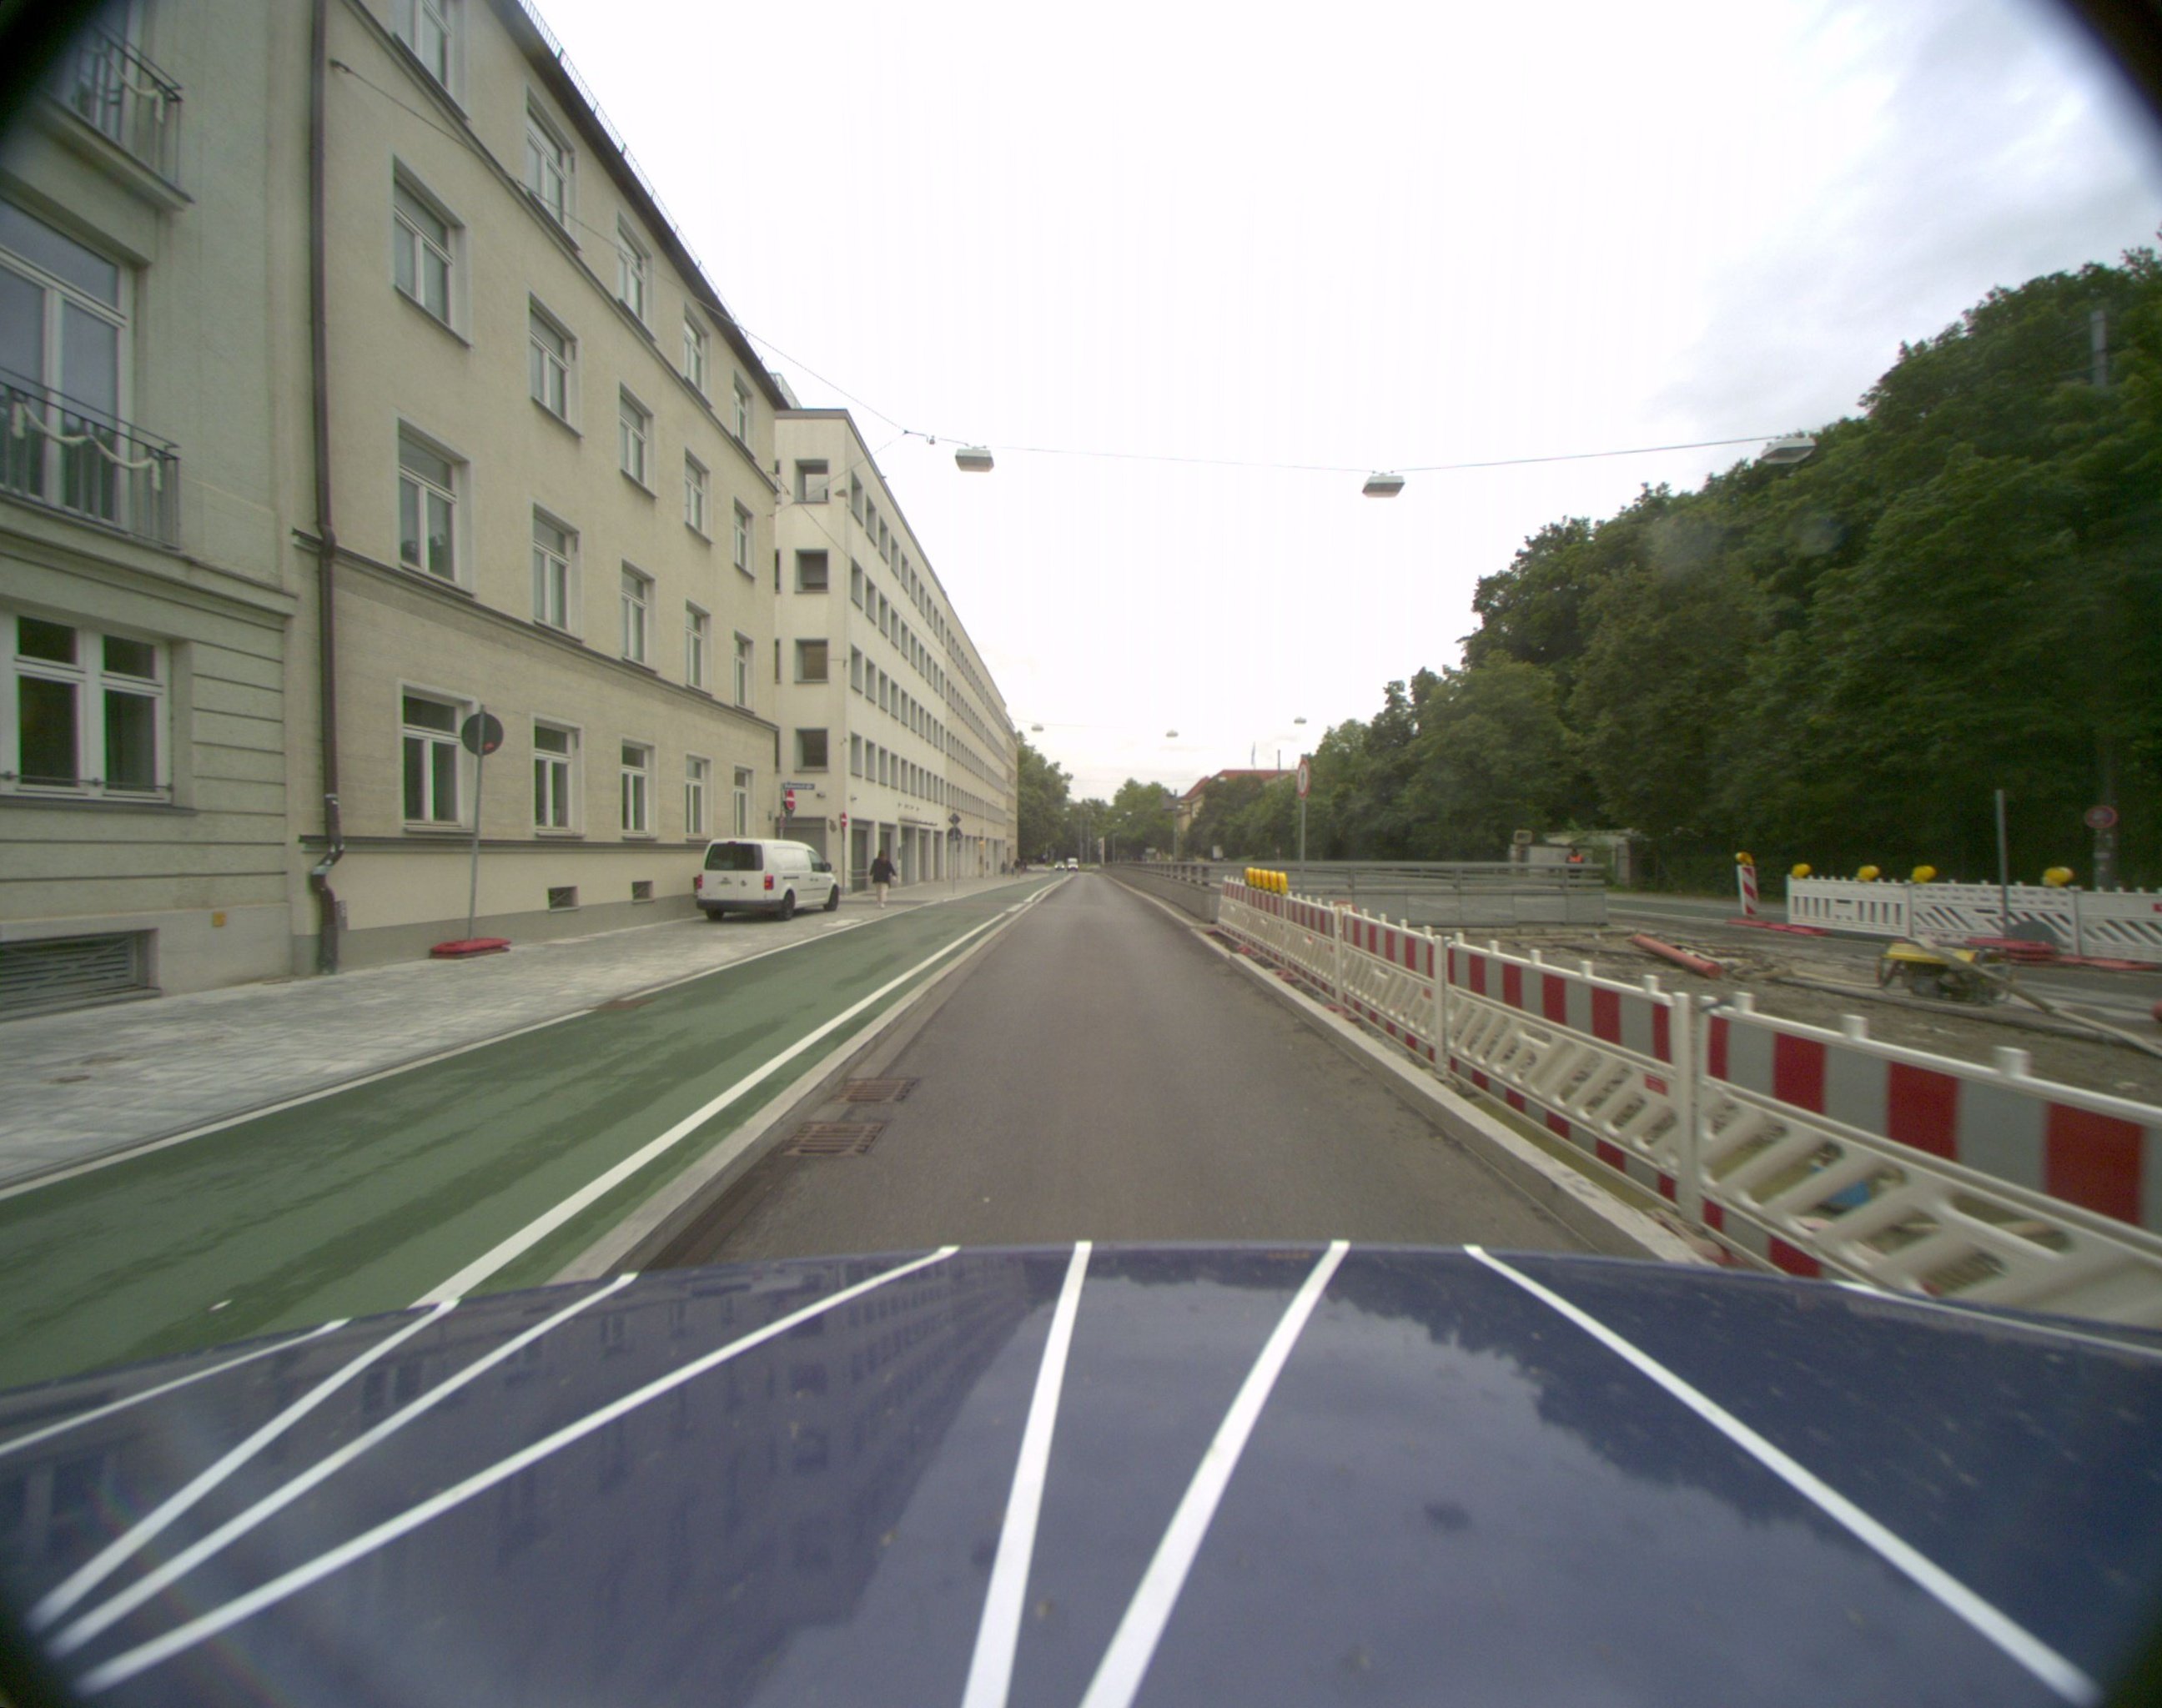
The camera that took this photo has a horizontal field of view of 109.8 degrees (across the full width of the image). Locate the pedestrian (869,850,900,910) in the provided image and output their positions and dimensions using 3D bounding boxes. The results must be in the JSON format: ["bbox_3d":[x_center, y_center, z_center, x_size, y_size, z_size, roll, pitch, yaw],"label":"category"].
[{"bbox_3d":[-5.439,0.720,21.060,0.666,1.626,0.737,1,0,0],"label":"pedestrian"}]

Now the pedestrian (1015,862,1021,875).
[{"bbox_3d":[-5.933,1.378,71.616,0.368,1.239,0.470,4,0,1],"label":"pedestrian"}]

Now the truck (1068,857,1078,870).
[{"bbox_3d":[-1.583,1.856,150.085,2.058,2.625,4.412,-1,0,-1],"label":"truck"}]

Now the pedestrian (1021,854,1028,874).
[{"bbox_3d":[-5.350,0.971,71.938,0.514,1.825,0.602,4,0,1],"label":"pedestrian"}]

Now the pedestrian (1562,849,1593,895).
[{"bbox_3d":[17.852,0.655,27.331,0.665,1.631,0.698,-1,0,2],"label":"pedestrian"}]

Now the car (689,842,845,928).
[{"bbox_3d":[-7.138,0.647,17.806,1.738,1.739,4.435,1,0,1],"label":"car"}]

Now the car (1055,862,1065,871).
[{"bbox_3d":[-4.561,2.643,163.720,1.999,1.738,4.000,-1,0,-1],"label":"car"}]

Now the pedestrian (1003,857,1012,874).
[{"bbox_3d":[-7.105,1.073,73.560,0.754,1.610,0.704,4,0,1],"label":"pedestrian"}]
